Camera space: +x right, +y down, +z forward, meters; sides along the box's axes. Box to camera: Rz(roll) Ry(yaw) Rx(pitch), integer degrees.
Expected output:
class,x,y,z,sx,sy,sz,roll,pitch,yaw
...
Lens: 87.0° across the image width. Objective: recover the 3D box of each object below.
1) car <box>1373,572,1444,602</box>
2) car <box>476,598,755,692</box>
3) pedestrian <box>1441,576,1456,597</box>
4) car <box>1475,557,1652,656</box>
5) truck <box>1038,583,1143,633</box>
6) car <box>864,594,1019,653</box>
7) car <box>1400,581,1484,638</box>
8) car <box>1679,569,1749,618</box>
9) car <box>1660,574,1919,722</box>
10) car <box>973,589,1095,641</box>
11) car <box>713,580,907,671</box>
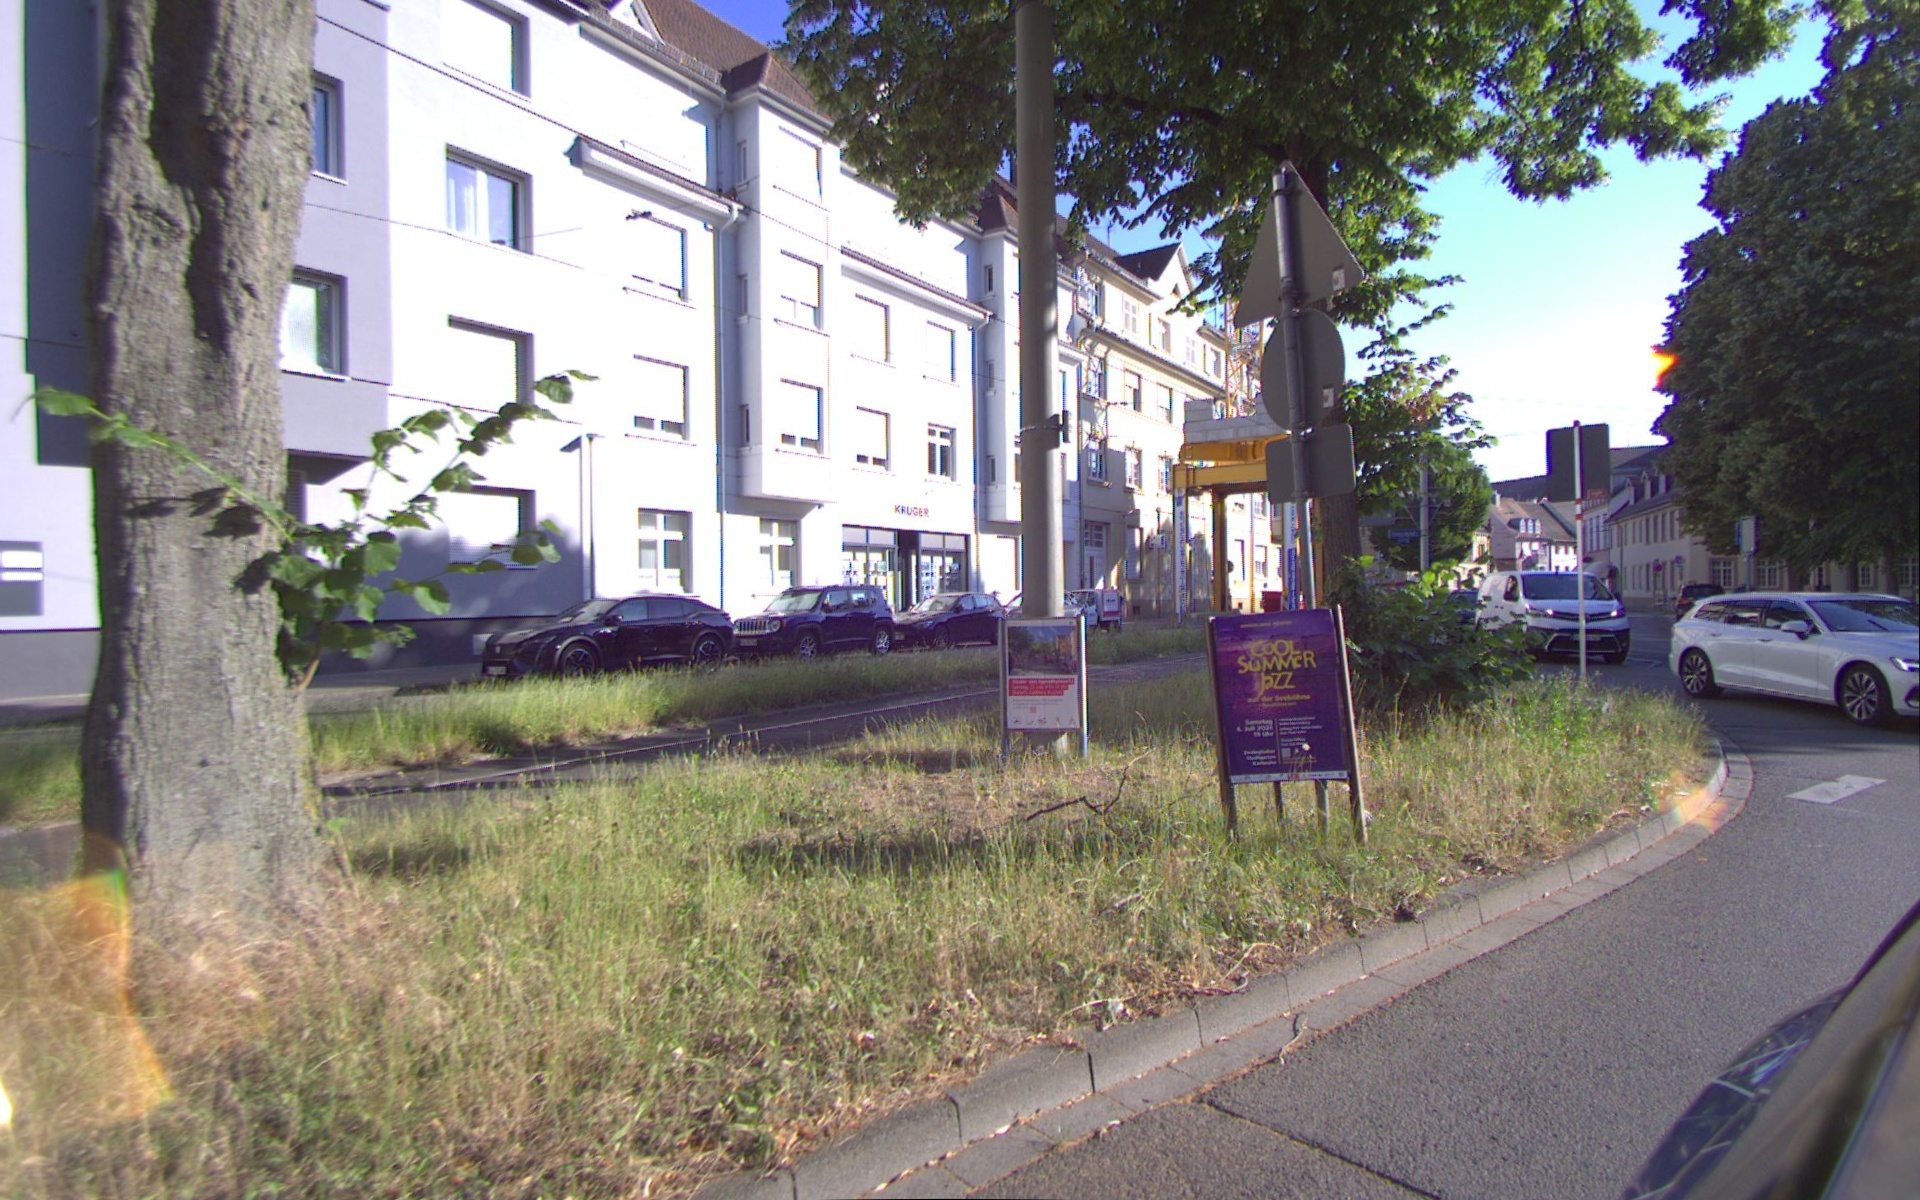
class,x,y,z,sx,sy,sz,roll,pitch,yaw
car,29.443,-0.832,66.434,4.040,1.945,1.977,0,0,32
car,-5.899,0.690,17.847,1.985,1.404,4.394,-1,0,33
pedestrian,47.839,-1.365,99.118,1.342,2.039,1.148,-1,0,26
car,12.782,0.109,21.820,1.971,1.878,4.879,-1,0,15
truck,4.521,0.246,34.593,1.986,1.605,4.048,-1,0,33
car,-0.400,0.558,26.347,1.987,1.404,4.155,-1,0,35
car,13.544,0.239,28.396,1.981,1.463,4.033,-1,0,27
car,30.393,-0.290,40.913,1.986,1.816,3.952,-3,0,34
car,10.744,0.470,12.094,1.823,1.482,4.764,0,0,6
car,2.291,0.407,30.475,1.986,1.471,4.048,-1,0,33
car,-3.175,0.489,22.155,1.985,1.771,4.160,-1,0,33
